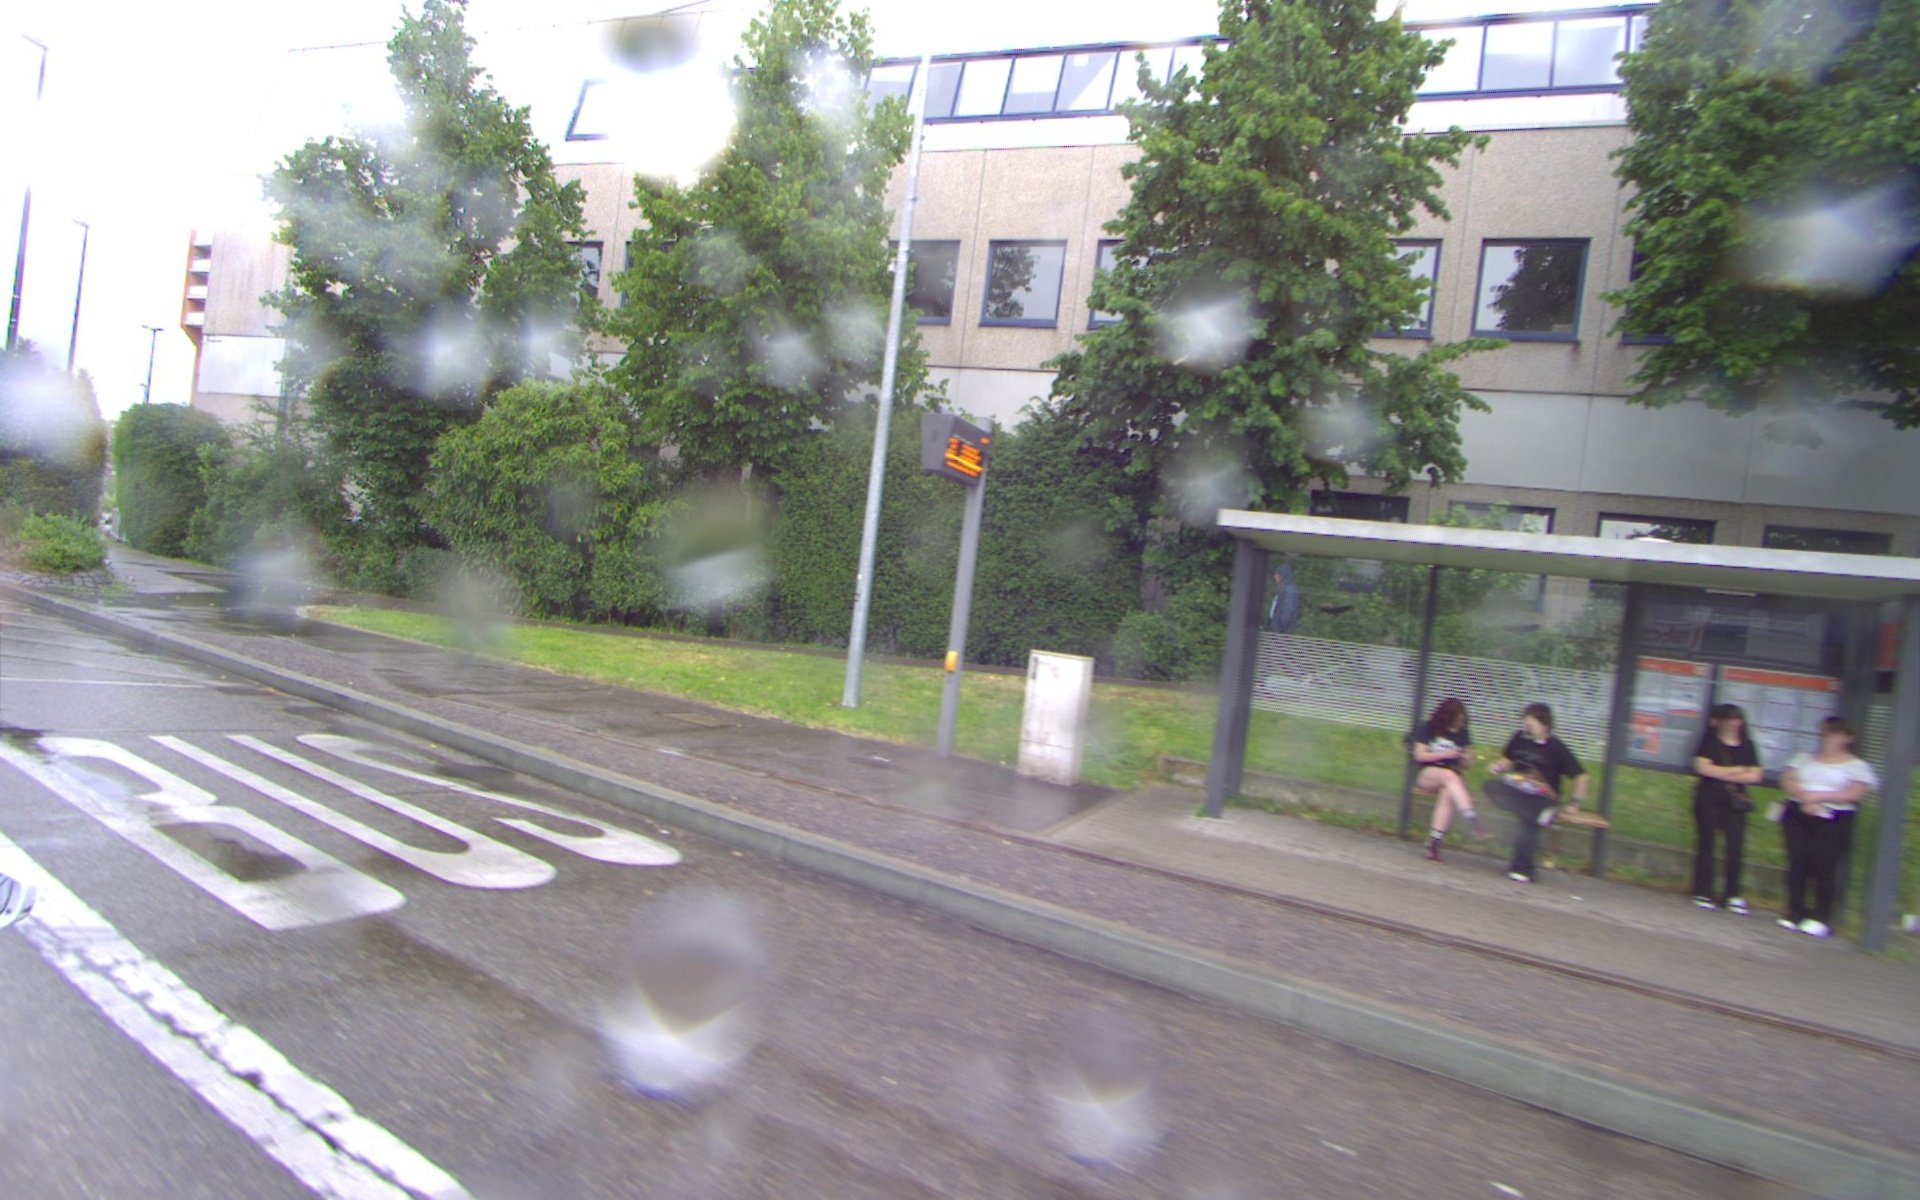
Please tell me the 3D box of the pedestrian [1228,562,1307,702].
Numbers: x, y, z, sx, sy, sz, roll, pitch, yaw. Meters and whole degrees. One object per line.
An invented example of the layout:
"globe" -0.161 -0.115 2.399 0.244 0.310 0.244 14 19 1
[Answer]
"pedestrian" 4.321 0.462 14.103 0.782 1.817 0.850 7 0 22

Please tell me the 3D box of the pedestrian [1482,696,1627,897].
"pedestrian" 4.593 1.476 7.854 0.679 1.298 1.031 8 2 22

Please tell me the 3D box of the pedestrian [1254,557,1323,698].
"pedestrian" 4.508 0.386 13.787 0.661 1.819 0.674 7 0 20

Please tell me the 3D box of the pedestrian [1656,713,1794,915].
"pedestrian" 5.718 1.583 7.536 0.406 1.383 0.539 5 3 -24

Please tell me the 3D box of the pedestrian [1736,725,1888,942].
"pedestrian" 6.006 1.629 7.110 0.406 1.383 0.539 5 3 -23

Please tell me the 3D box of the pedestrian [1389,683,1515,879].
"pedestrian" 3.856 1.377 7.967 0.679 1.298 1.031 8 2 22
